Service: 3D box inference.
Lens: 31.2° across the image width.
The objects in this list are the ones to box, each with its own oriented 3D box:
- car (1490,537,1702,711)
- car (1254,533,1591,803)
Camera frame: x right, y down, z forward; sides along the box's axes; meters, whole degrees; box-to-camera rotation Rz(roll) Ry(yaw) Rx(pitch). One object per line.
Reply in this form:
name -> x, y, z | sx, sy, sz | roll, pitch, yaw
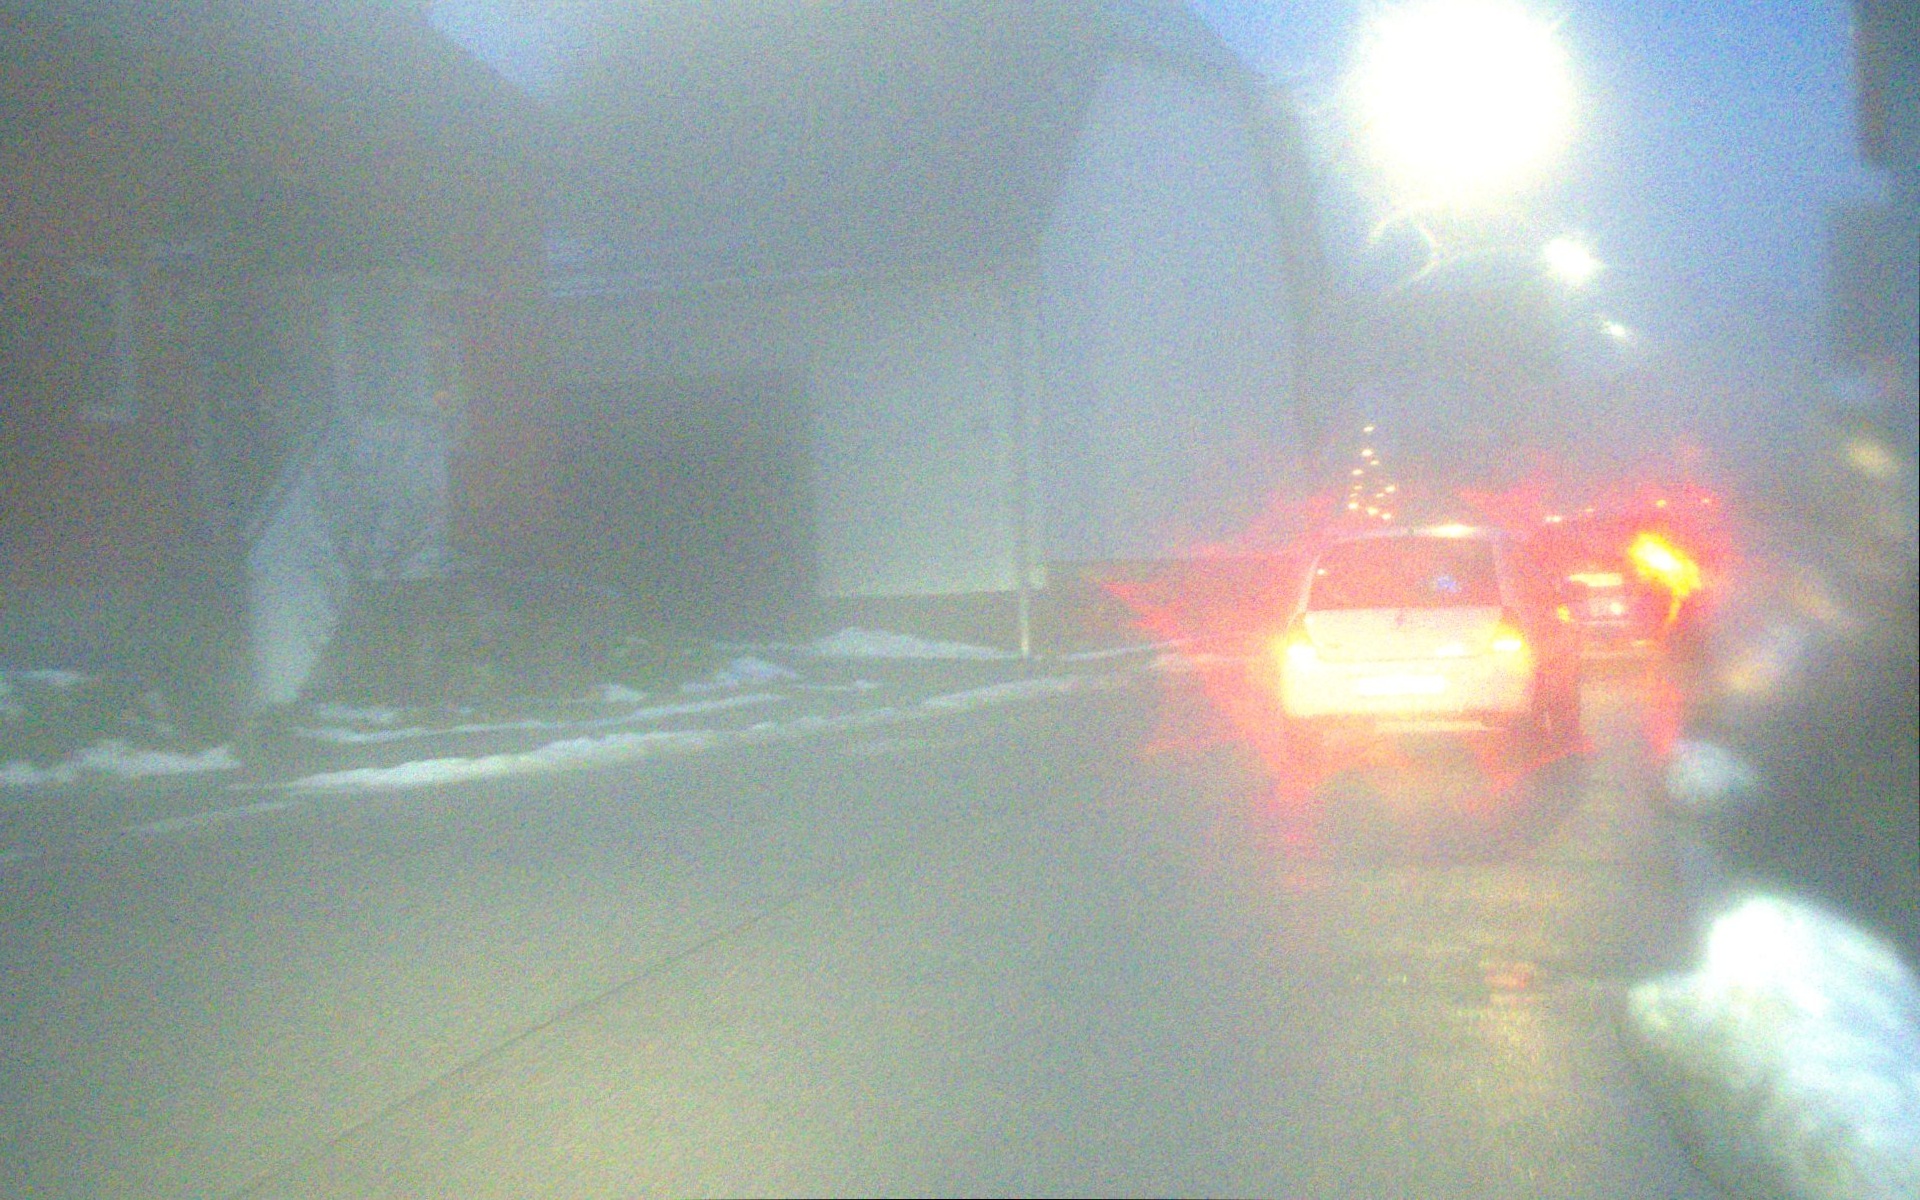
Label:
car -> 6.235, 0.206, 33.452 | 1.646, 1.590, 3.696 | 0, 0, 16
car -> 3.075, 0.391, 22.279 | 1.646, 1.590, 3.697 | 0, 0, 16
